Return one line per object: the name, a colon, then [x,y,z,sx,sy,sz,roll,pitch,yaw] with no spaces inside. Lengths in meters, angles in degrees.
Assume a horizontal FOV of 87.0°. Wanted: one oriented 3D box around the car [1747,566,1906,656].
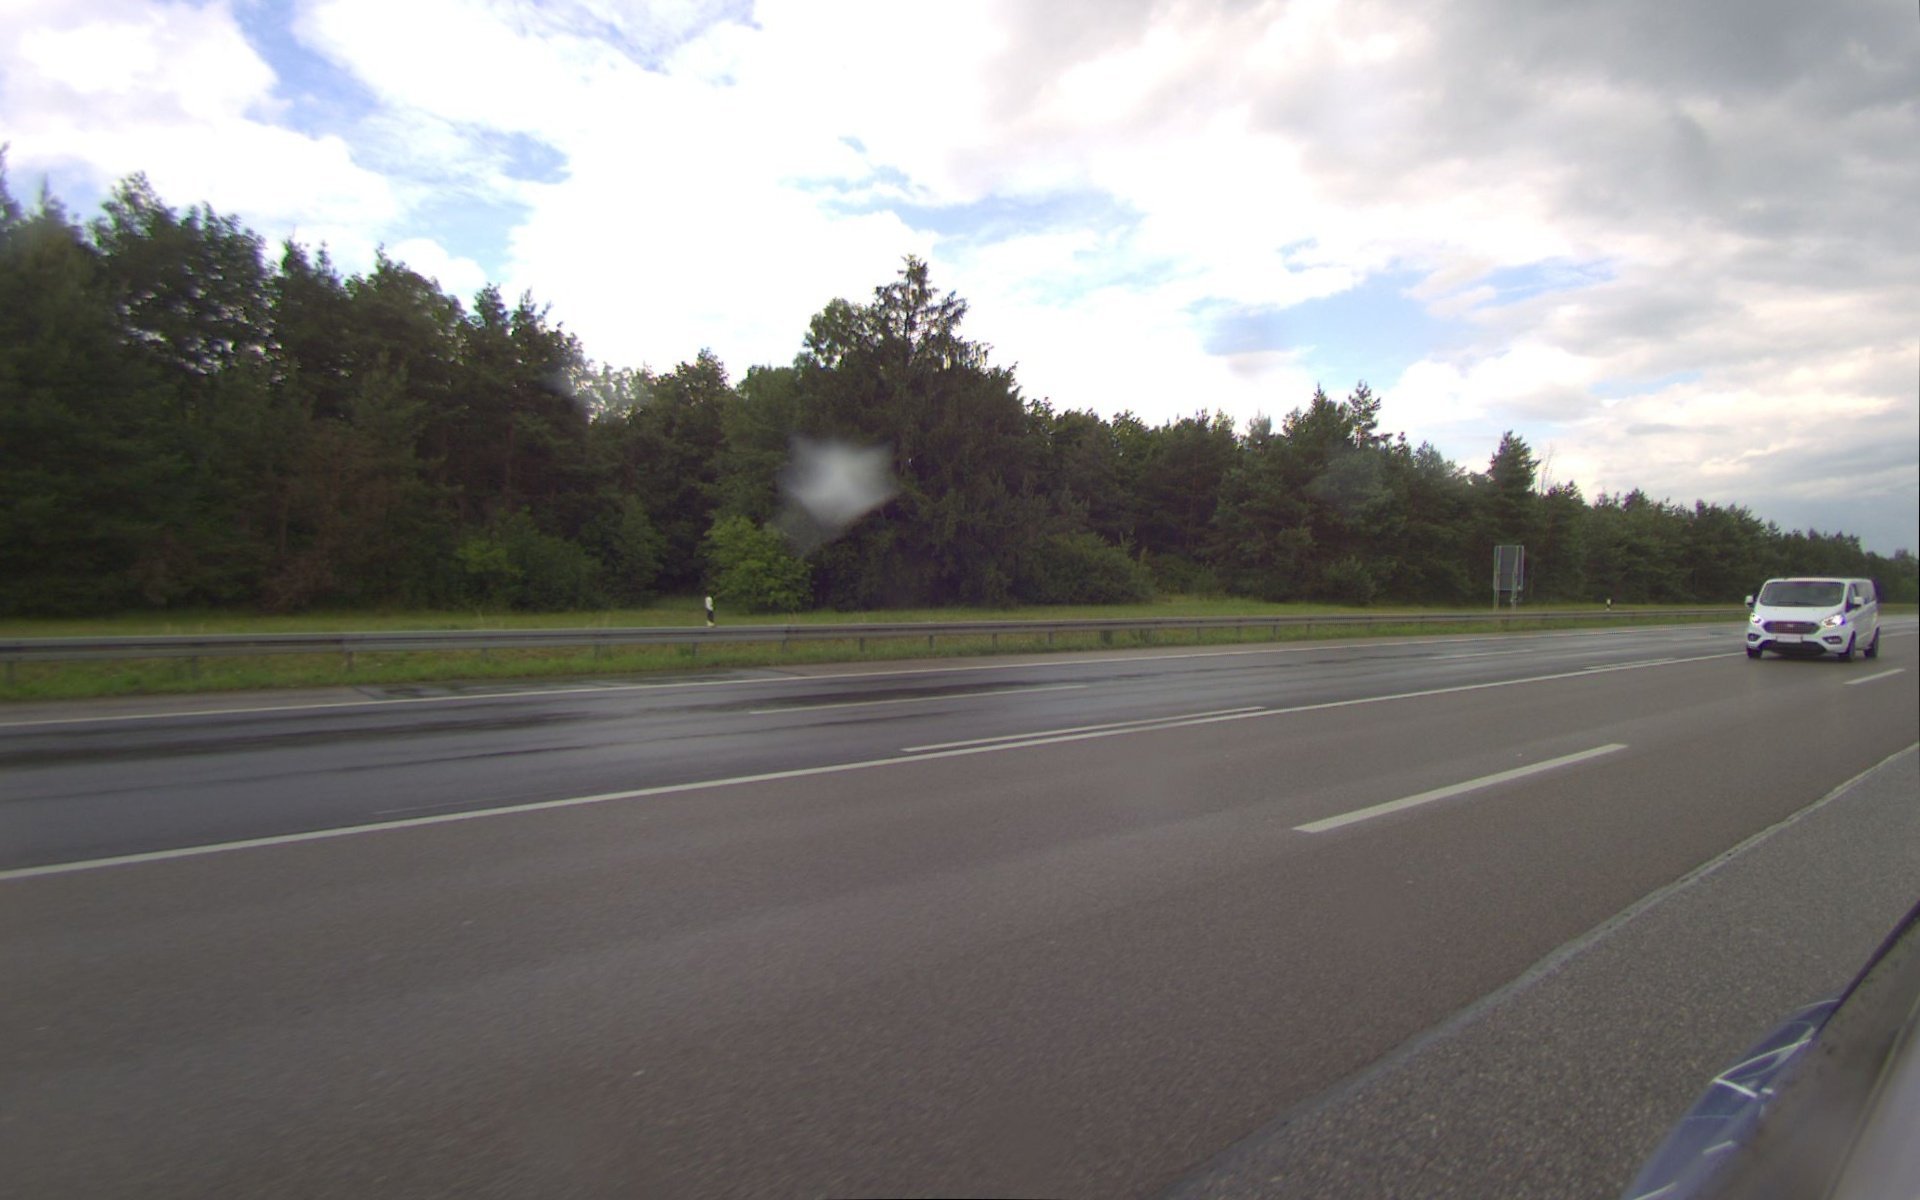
car: [21.666,0.240,25.224,5.382,2.039,1.998,0,0,-38]
